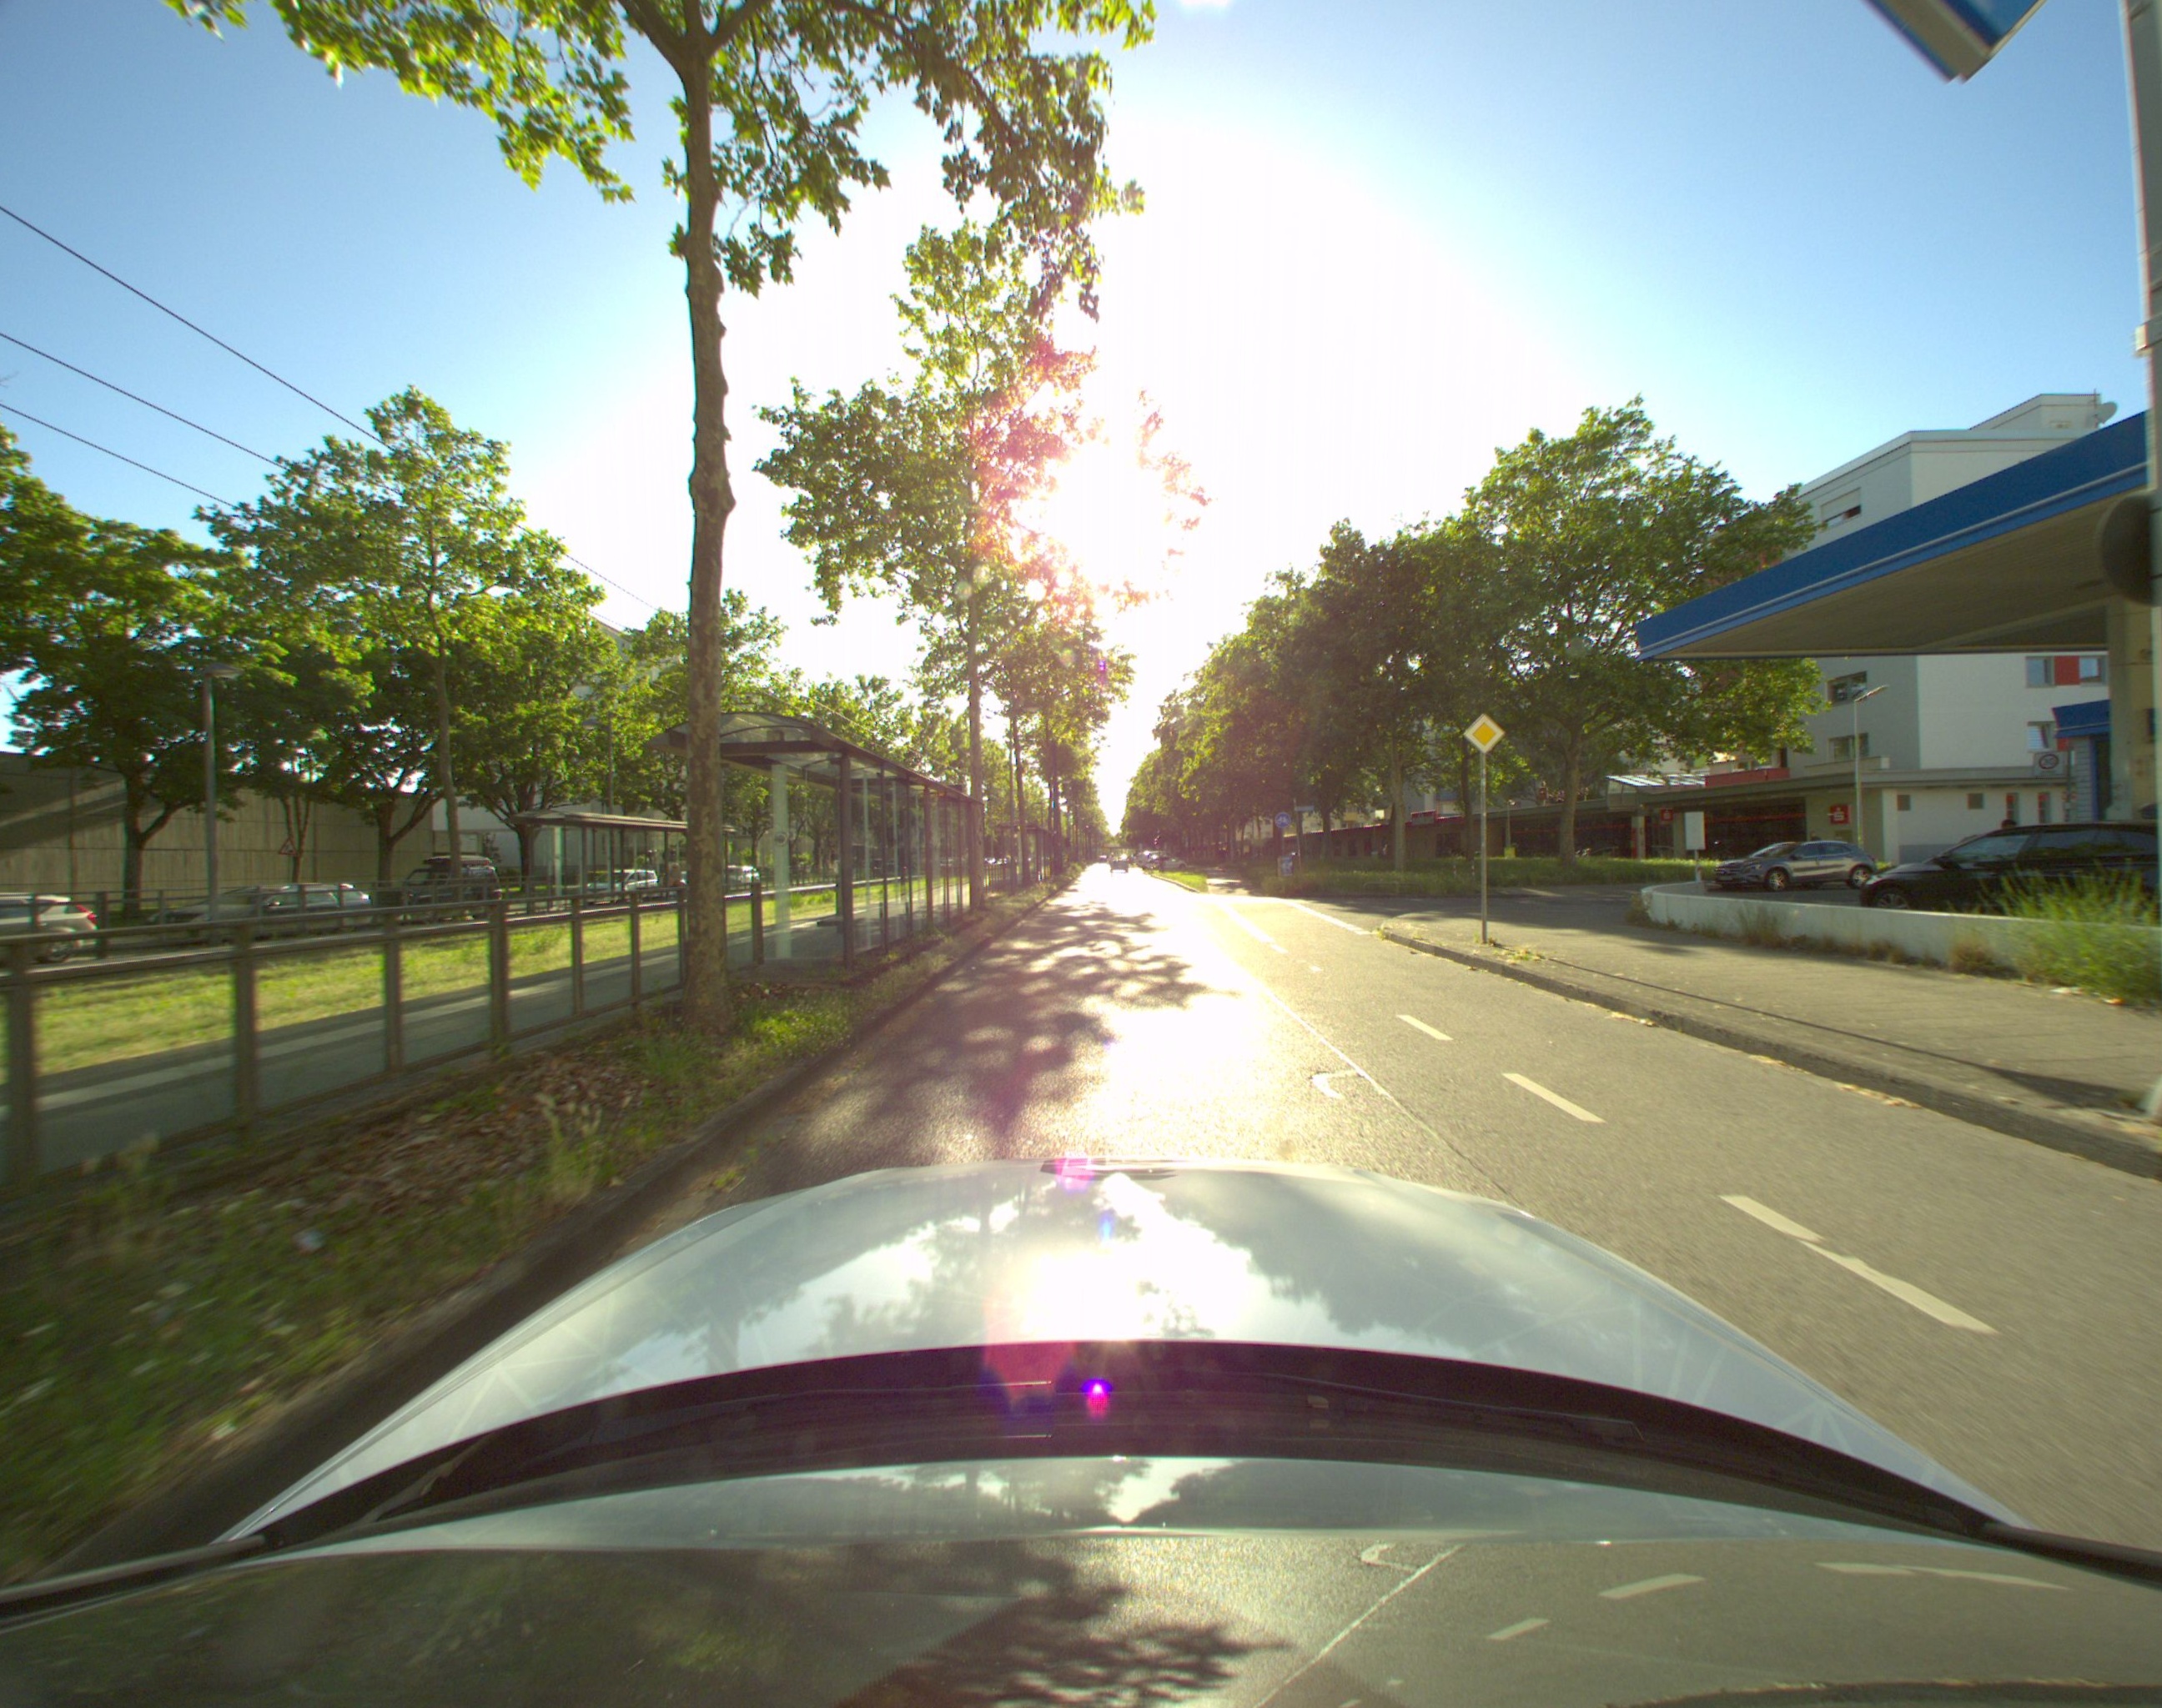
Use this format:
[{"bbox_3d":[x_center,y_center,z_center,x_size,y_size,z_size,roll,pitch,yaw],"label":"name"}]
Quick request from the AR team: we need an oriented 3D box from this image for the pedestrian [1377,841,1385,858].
[{"bbox_3d":[30.029,-0.442,81.491,0.494,1.700,0.715,-2,1,-4],"label":"pedestrian"}]

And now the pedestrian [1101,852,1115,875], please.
[{"bbox_3d":[2.084,0.732,63.198,0.835,1.722,0.833,-2,0,16],"label":"pedestrian"}]

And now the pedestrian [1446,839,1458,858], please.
[{"bbox_3d":[31.529,-0.477,69.237,0.669,1.584,0.715,-2,1,-4],"label":"pedestrian"}]

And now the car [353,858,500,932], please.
[{"bbox_3d":[-22.108,1.310,27.729,1.708,2.262,3.934,-2,0,1],"label":"car"}]

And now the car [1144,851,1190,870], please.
[{"bbox_3d":[8.164,0.616,77.525,4.011,1.469,1.744,-4,0,-30],"label":"car"}]

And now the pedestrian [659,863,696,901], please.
[{"bbox_3d":[-13.731,0.948,27.732,0.829,1.261,0.805,-1,0,30],"label":"pedestrian"}]

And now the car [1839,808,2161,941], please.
[{"bbox_3d":[12.583,0.209,10.495,1.717,1.463,3.999,-1,0,-5],"label":"car"}]

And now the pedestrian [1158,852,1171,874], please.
[{"bbox_3d":[6.734,0.714,65.788,0.715,1.706,0.647,-3,-1,-33],"label":"pedestrian"}]

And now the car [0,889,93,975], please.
[{"bbox_3d":[-22.275,1.611,15.690,1.588,1.636,3.931,-2,0,1],"label":"car"}]

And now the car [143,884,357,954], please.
[{"bbox_3d":[-22.201,1.669,22.016,1.588,1.488,4.020,-2,0,1],"label":"car"}]

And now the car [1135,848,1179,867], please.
[{"bbox_3d":[8.247,0.398,87.809,4.694,1.853,1.809,-3,0,-39],"label":"car"}]

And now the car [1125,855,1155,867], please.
[{"bbox_3d":[7.661,0.947,106.057,3.961,1.373,1.568,-3,0,-42],"label":"car"}]

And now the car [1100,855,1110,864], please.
[{"bbox_3d":[4.407,0.930,148.963,1.842,1.535,3.868,-2,0,2],"label":"car"}]

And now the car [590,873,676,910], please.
[{"bbox_3d":[-21.348,1.747,38.986,1.706,1.546,3.938,-2,0,4],"label":"car"}]

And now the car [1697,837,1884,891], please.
[{"bbox_3d":[22.287,0.299,25.709,4.177,1.531,1.983,-1,0,-1],"label":"car"}]

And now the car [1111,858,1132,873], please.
[{"bbox_3d":[3.935,1.089,79.973,1.915,1.411,4.001,-1,0,1],"label":"car"}]

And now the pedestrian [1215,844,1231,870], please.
[{"bbox_3d":[10.460,0.231,59.998,0.926,1.885,0.797,-2,0,-12],"label":"pedestrian"}]

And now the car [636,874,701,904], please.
[{"bbox_3d":[-19.128,1.596,37.906,1.258,1.241,3.376,-1,0,0],"label":"car"}]

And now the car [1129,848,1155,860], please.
[{"bbox_3d":[10.018,-0.005,133.768,4.105,1.811,1.632,-3,0,-39],"label":"car"}]

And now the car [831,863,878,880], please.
[{"bbox_3d":[-21.170,1.659,76.246,1.817,1.435,3.849,-2,0,42],"label":"car"}]

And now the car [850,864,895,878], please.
[{"bbox_3d":[-20.404,1.656,79.801,3.846,1.246,1.819,-2,0,-41],"label":"car"}]
